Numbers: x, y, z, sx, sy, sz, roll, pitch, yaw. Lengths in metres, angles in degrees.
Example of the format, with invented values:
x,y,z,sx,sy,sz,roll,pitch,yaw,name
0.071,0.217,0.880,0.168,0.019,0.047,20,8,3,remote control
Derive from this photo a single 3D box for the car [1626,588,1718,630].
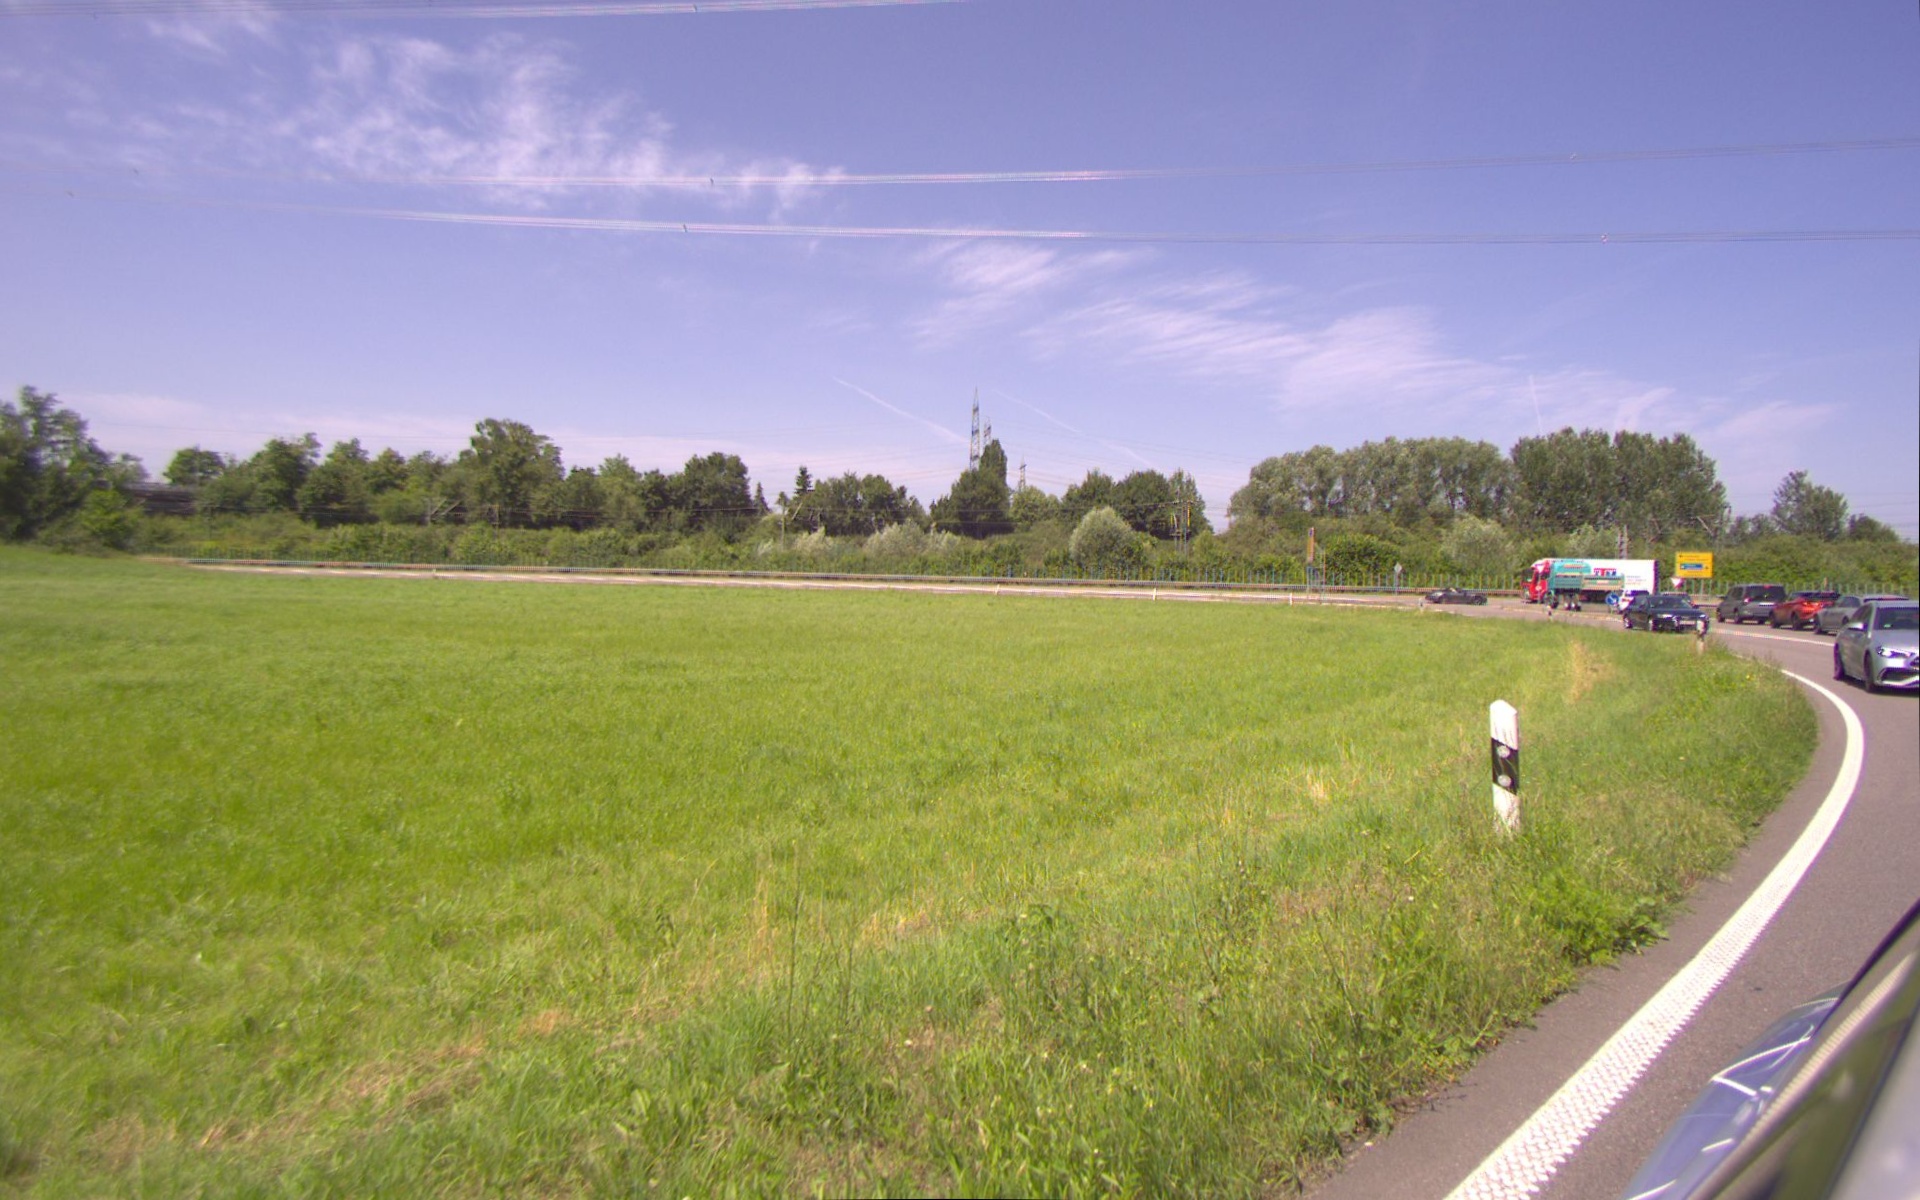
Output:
x,y,z,sx,sy,sz,roll,pitch,yaw,name
27.157,0.294,38.765,1.803,1.457,4.122,1,2,20,car

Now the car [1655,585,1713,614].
x,y,z,sx,sy,sz,roll,pitch,yaw,name
39.969,-0.059,55.932,1.618,1.477,3.980,1,1,21,car

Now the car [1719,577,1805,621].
x,y,z,sx,sy,sz,roll,pitch,yaw,name
36.366,-0.099,46.023,1.911,1.854,4.404,2,2,24,car

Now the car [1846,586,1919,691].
x,y,z,sx,sy,sz,roll,pitch,yaw,name
15.744,0.563,16.282,1.814,1.505,4.096,1,2,36,car

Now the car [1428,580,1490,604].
x,y,z,sx,sy,sz,roll,pitch,yaw,name
38.880,-0.618,78.876,3.938,1.745,1.719,2,2,12,car

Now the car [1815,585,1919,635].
x,y,z,sx,sy,sz,roll,pitch,yaw,name
30.964,0.286,34.318,1.828,1.478,4.767,1,2,26,car

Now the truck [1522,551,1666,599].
x,y,z,sx,sy,sz,roll,pitch,yaw,name
50.530,-1.993,80.872,9.397,3.624,2.719,0,1,9,truck

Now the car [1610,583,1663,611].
x,y,z,sx,sy,sz,roll,pitch,yaw,name
41.583,-0.216,62.276,1.756,1.641,4.300,0,1,21,car

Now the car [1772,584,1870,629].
x,y,z,sx,sy,sz,roll,pitch,yaw,name
33.513,0.204,39.525,1.787,1.534,4.353,2,2,26,car

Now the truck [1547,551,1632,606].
x,y,z,sx,sy,sz,roll,pitch,yaw,name
42.995,-1.471,69.394,2.572,3.514,7.579,2,1,14,truck
